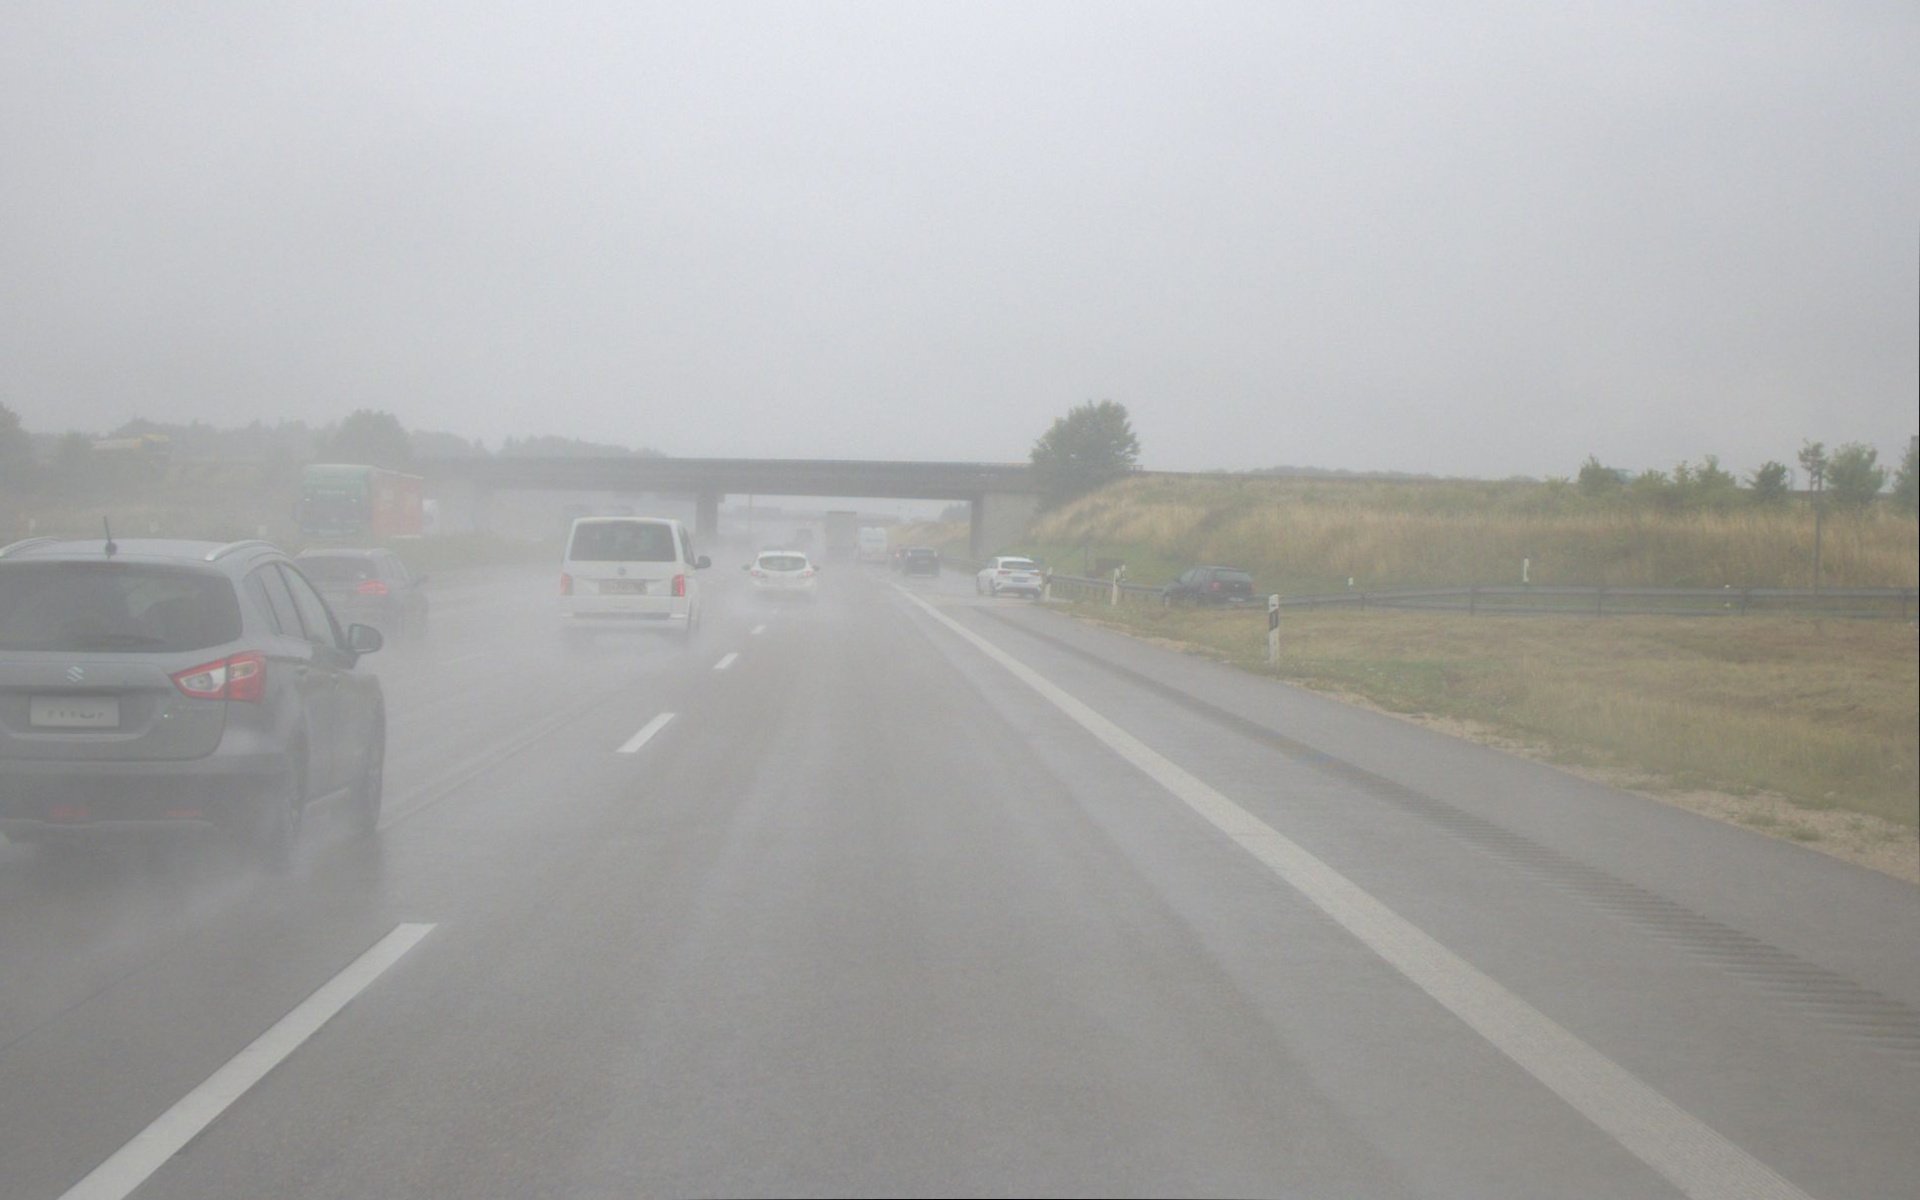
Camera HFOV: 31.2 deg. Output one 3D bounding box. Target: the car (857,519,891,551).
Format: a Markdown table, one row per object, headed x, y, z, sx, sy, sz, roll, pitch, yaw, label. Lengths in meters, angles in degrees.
| x | y | z | sx | sy | sz | roll | pitch | yaw | label |
| --- | --- | --- | --- | --- | --- | --- | --- | --- | --- |
| -5.710 | -4.321 | 227.904 | 1.993 | 2.094 | 4.001 | 1 | 1 | -5 | car |

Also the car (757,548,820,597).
| x | y | z | sx | sy | sz | roll | pitch | yaw | label |
| --- | --- | --- | --- | --- | --- | --- | --- | --- | --- |
| -4.356 | -0.706 | 87.536 | 1.468 | 1.204 | 2.991 | 1 | 0 | -1 | car |

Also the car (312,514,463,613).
| x | y | z | sx | sy | sz | roll | pitch | yaw | label |
| --- | --- | --- | --- | --- | --- | --- | --- | --- | --- |
| -8.310 | -0.530 | 50.169 | 1.612 | 1.349 | 4.000 | 1 | 0 | -1 | car |

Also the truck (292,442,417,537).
| x | y | z | sx | sy | sz | roll | pitch | yaw | label |
| --- | --- | --- | --- | --- | --- | --- | --- | --- | --- |
| -22.832 | -4.097 | 130.110 | 3.265 | 3.429 | 10.131 | 0 | 1 | -2 | truck |

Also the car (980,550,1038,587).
| x | y | z | sx | sy | sz | roll | pitch | yaw | label |
| --- | --- | --- | --- | --- | --- | --- | --- | --- | --- |
| 1.742 | -1.142 | 123.958 | 1.993 | 1.262 | 4.000 | 1 | 0 | 0 | car |

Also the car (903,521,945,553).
| x | y | z | sx | sy | sz | roll | pitch | yaw | label |
| --- | --- | --- | --- | --- | --- | --- | --- | --- | --- |
| -1.780 | -3.129 | 170.187 | 1.800 | 1.503 | 4.001 | 1 | 1 | -4 | car |

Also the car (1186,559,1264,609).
| x | y | z | sx | sy | sz | roll | pitch | yaw | label |
| --- | --- | --- | --- | --- | --- | --- | --- | --- | --- |
| 7.956 | -0.498 | 103.540 | 1.731 | 1.416 | 3.659 | 1 | 1 | -5 | car |

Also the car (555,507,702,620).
| x | y | z | sx | sy | sz | roll | pitch | yaw | label |
| --- | --- | --- | --- | --- | --- | --- | --- | --- | --- |
| -4.871 | -0.538 | 50.961 | 1.897 | 1.580 | 4.000 | 1 | 0 | -2 | car |

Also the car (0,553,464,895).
| x | y | z | sx | sy | sz | roll | pitch | yaw | label |
| --- | --- | --- | --- | --- | --- | --- | --- | --- | --- |
| -3.857 | 0.523 | 17.790 | 1.846 | 1.508 | 4.757 | 1 | 1 | 0 | car |
